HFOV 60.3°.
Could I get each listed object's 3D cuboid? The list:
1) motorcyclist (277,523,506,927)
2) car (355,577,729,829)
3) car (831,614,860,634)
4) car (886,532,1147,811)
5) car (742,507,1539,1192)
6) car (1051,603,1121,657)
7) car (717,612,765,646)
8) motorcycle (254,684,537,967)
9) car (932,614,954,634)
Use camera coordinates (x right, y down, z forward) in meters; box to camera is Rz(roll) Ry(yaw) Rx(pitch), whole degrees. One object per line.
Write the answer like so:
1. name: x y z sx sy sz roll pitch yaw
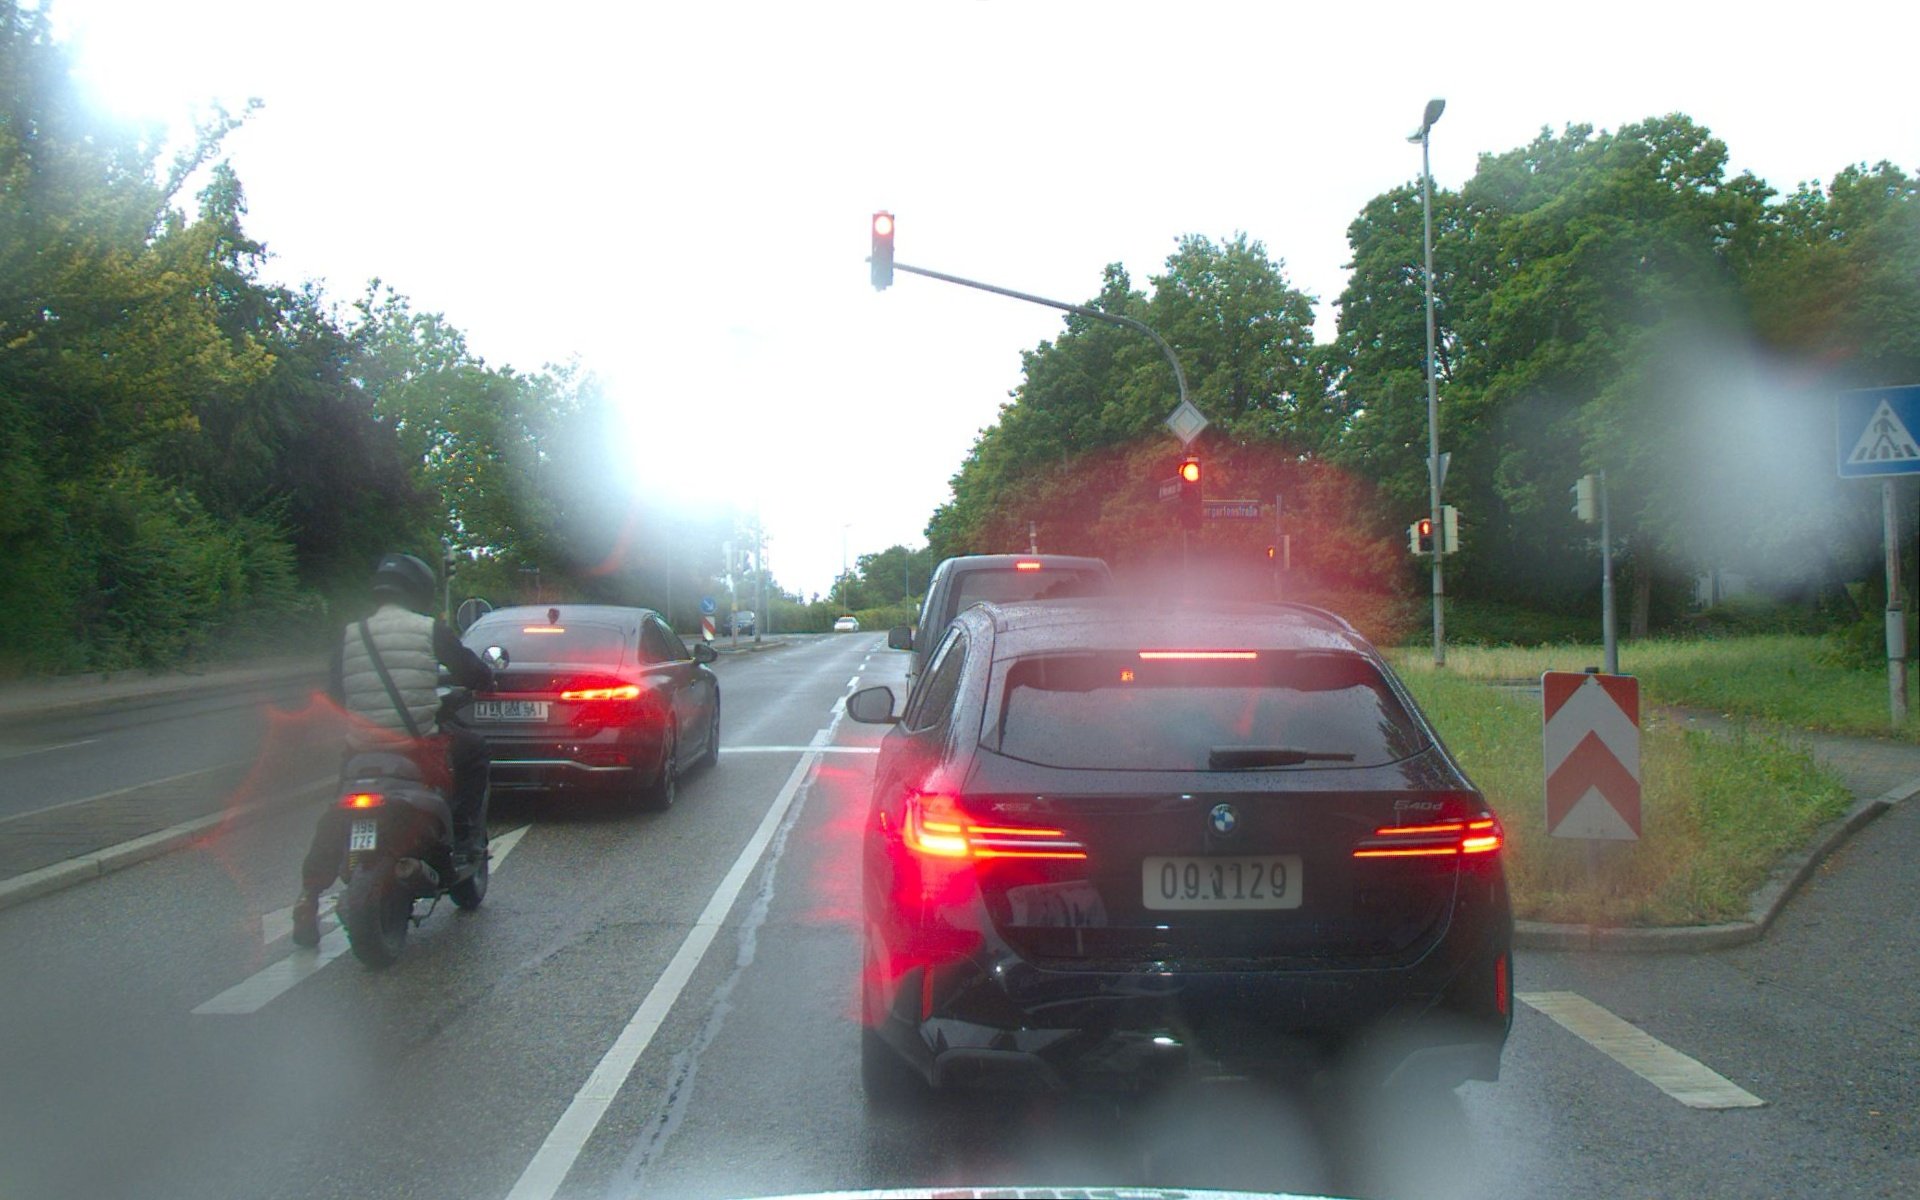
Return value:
1. motorcyclist: -2.454 0.525 7.208 0.749 1.671 0.674 0 -1 -2
2. car: -3.020 0.686 12.936 1.954 1.554 4.325 -2 0 -3
3. car: -10.294 2.157 149.002 1.951 1.639 3.674 -2 -1 6
4. car: 0.380 0.506 13.346 1.781 1.901 3.952 0 0 0
5. car: 0.528 0.616 6.197 1.858 1.578 4.616 0 -1 3
6. car: 3.965 0.918 52.462 1.835 1.569 3.952 -2 0 0
7. car: -12.388 1.626 93.839 1.952 1.858 4.001 -2 -1 3
8. motorcycle: -2.465 0.941 7.445 0.677 1.071 1.747 1 -1 -1
9. car: -1.320 1.873 129.478 1.663 1.452 3.513 -2 0 0
